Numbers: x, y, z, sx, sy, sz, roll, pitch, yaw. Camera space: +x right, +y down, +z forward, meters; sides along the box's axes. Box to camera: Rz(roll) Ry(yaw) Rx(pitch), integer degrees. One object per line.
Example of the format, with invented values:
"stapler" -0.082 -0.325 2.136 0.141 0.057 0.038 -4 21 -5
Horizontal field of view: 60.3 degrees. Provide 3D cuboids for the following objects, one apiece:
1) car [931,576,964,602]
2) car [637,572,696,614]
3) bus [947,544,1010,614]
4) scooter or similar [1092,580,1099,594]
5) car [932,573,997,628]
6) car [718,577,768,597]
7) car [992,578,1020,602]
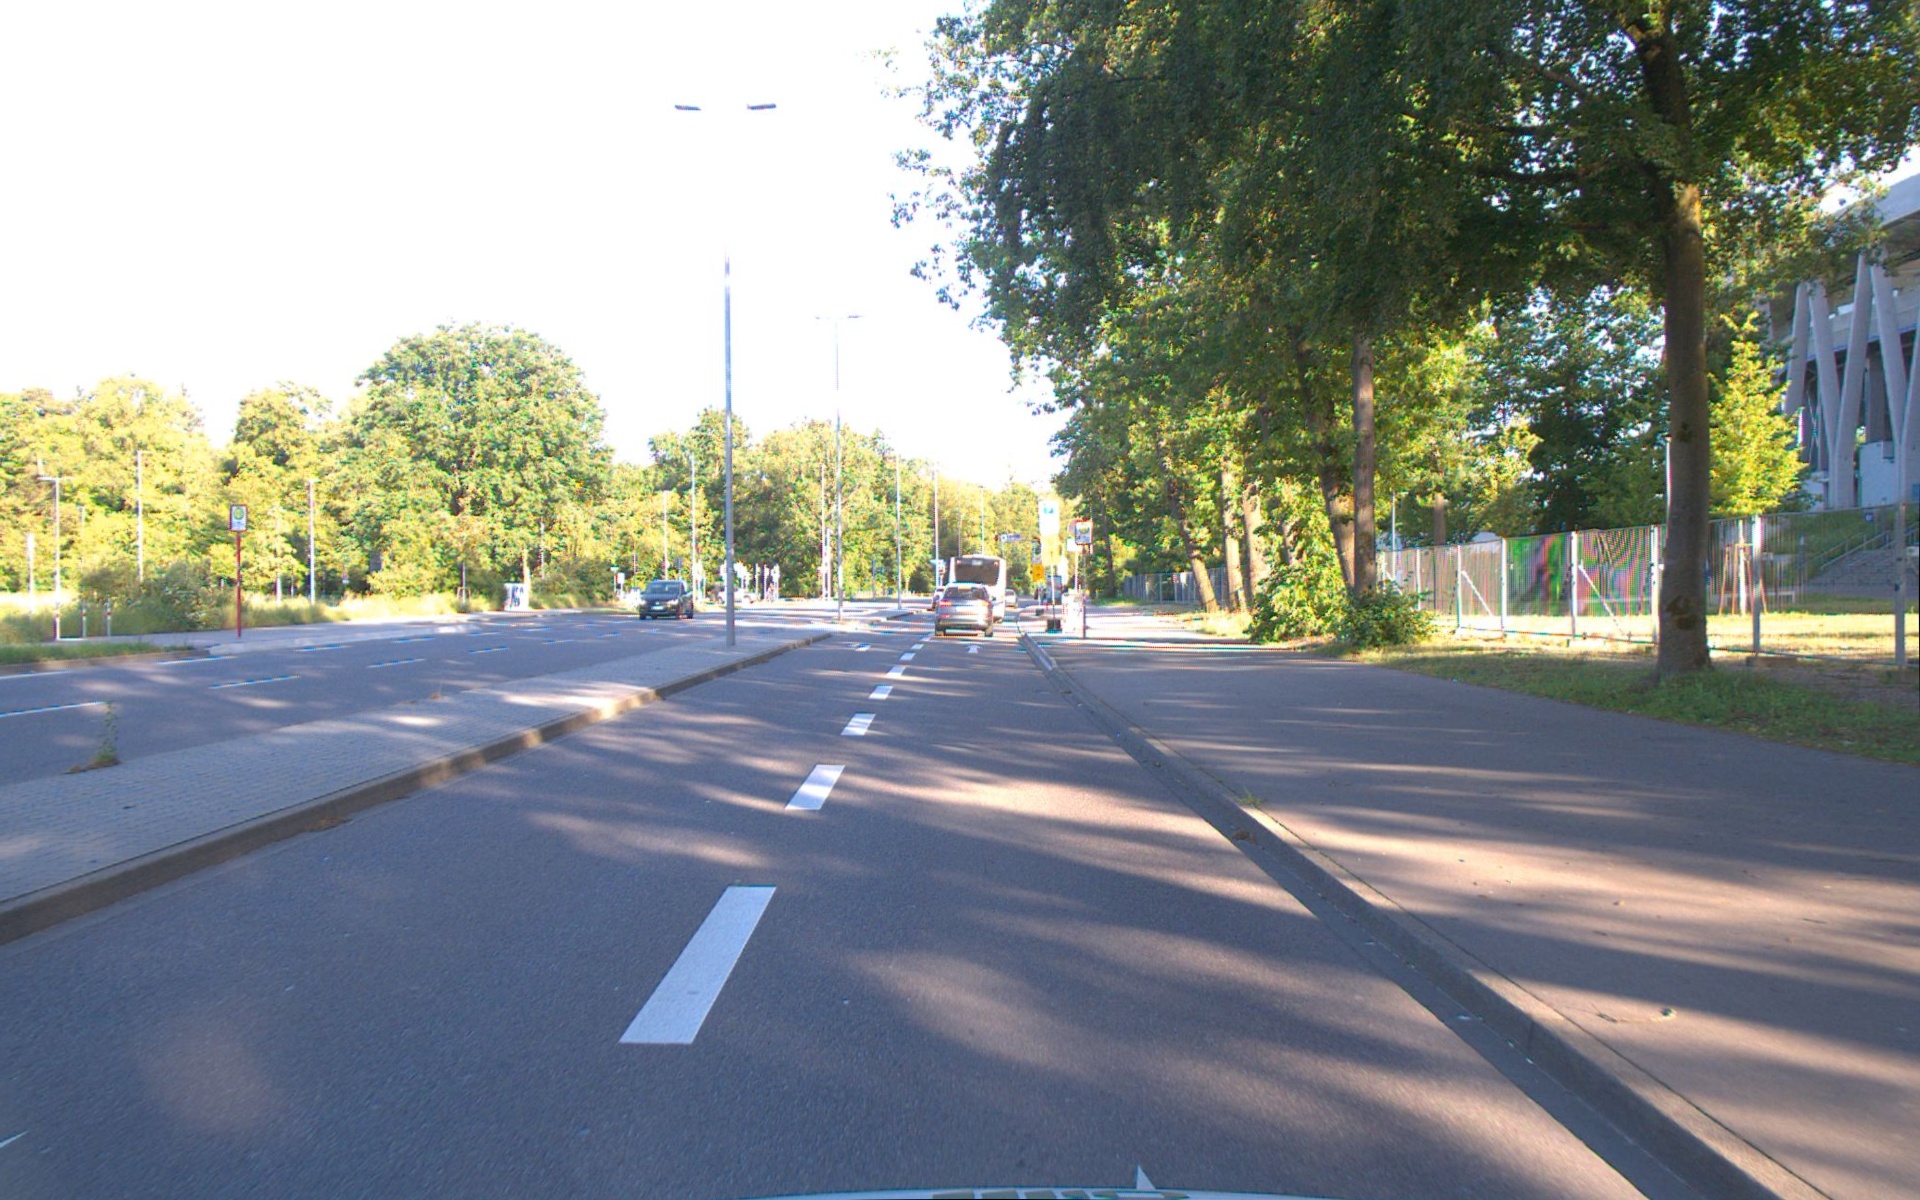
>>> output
"car" -0.762 -0.693 103.092 1.798 1.545 4.002 0 1 3
"car" -12.763 -0.356 72.154 1.746 1.721 4.702 1 1 0
"bus" 0.949 -0.944 77.448 2.540 3.041 9.330 1 0 3
"scooter or similar" 14.507 -1.390 177.223 0.497 1.469 2.022 -1 1 -2
"car" 0.177 -0.013 53.227 1.859 1.660 4.002 1 1 3
"car" -19.067 -1.152 145.303 4.132 1.612 2.104 -2 1 -2
"car" 3.469 -0.754 123.265 1.870 1.758 4.581 1 0 4
